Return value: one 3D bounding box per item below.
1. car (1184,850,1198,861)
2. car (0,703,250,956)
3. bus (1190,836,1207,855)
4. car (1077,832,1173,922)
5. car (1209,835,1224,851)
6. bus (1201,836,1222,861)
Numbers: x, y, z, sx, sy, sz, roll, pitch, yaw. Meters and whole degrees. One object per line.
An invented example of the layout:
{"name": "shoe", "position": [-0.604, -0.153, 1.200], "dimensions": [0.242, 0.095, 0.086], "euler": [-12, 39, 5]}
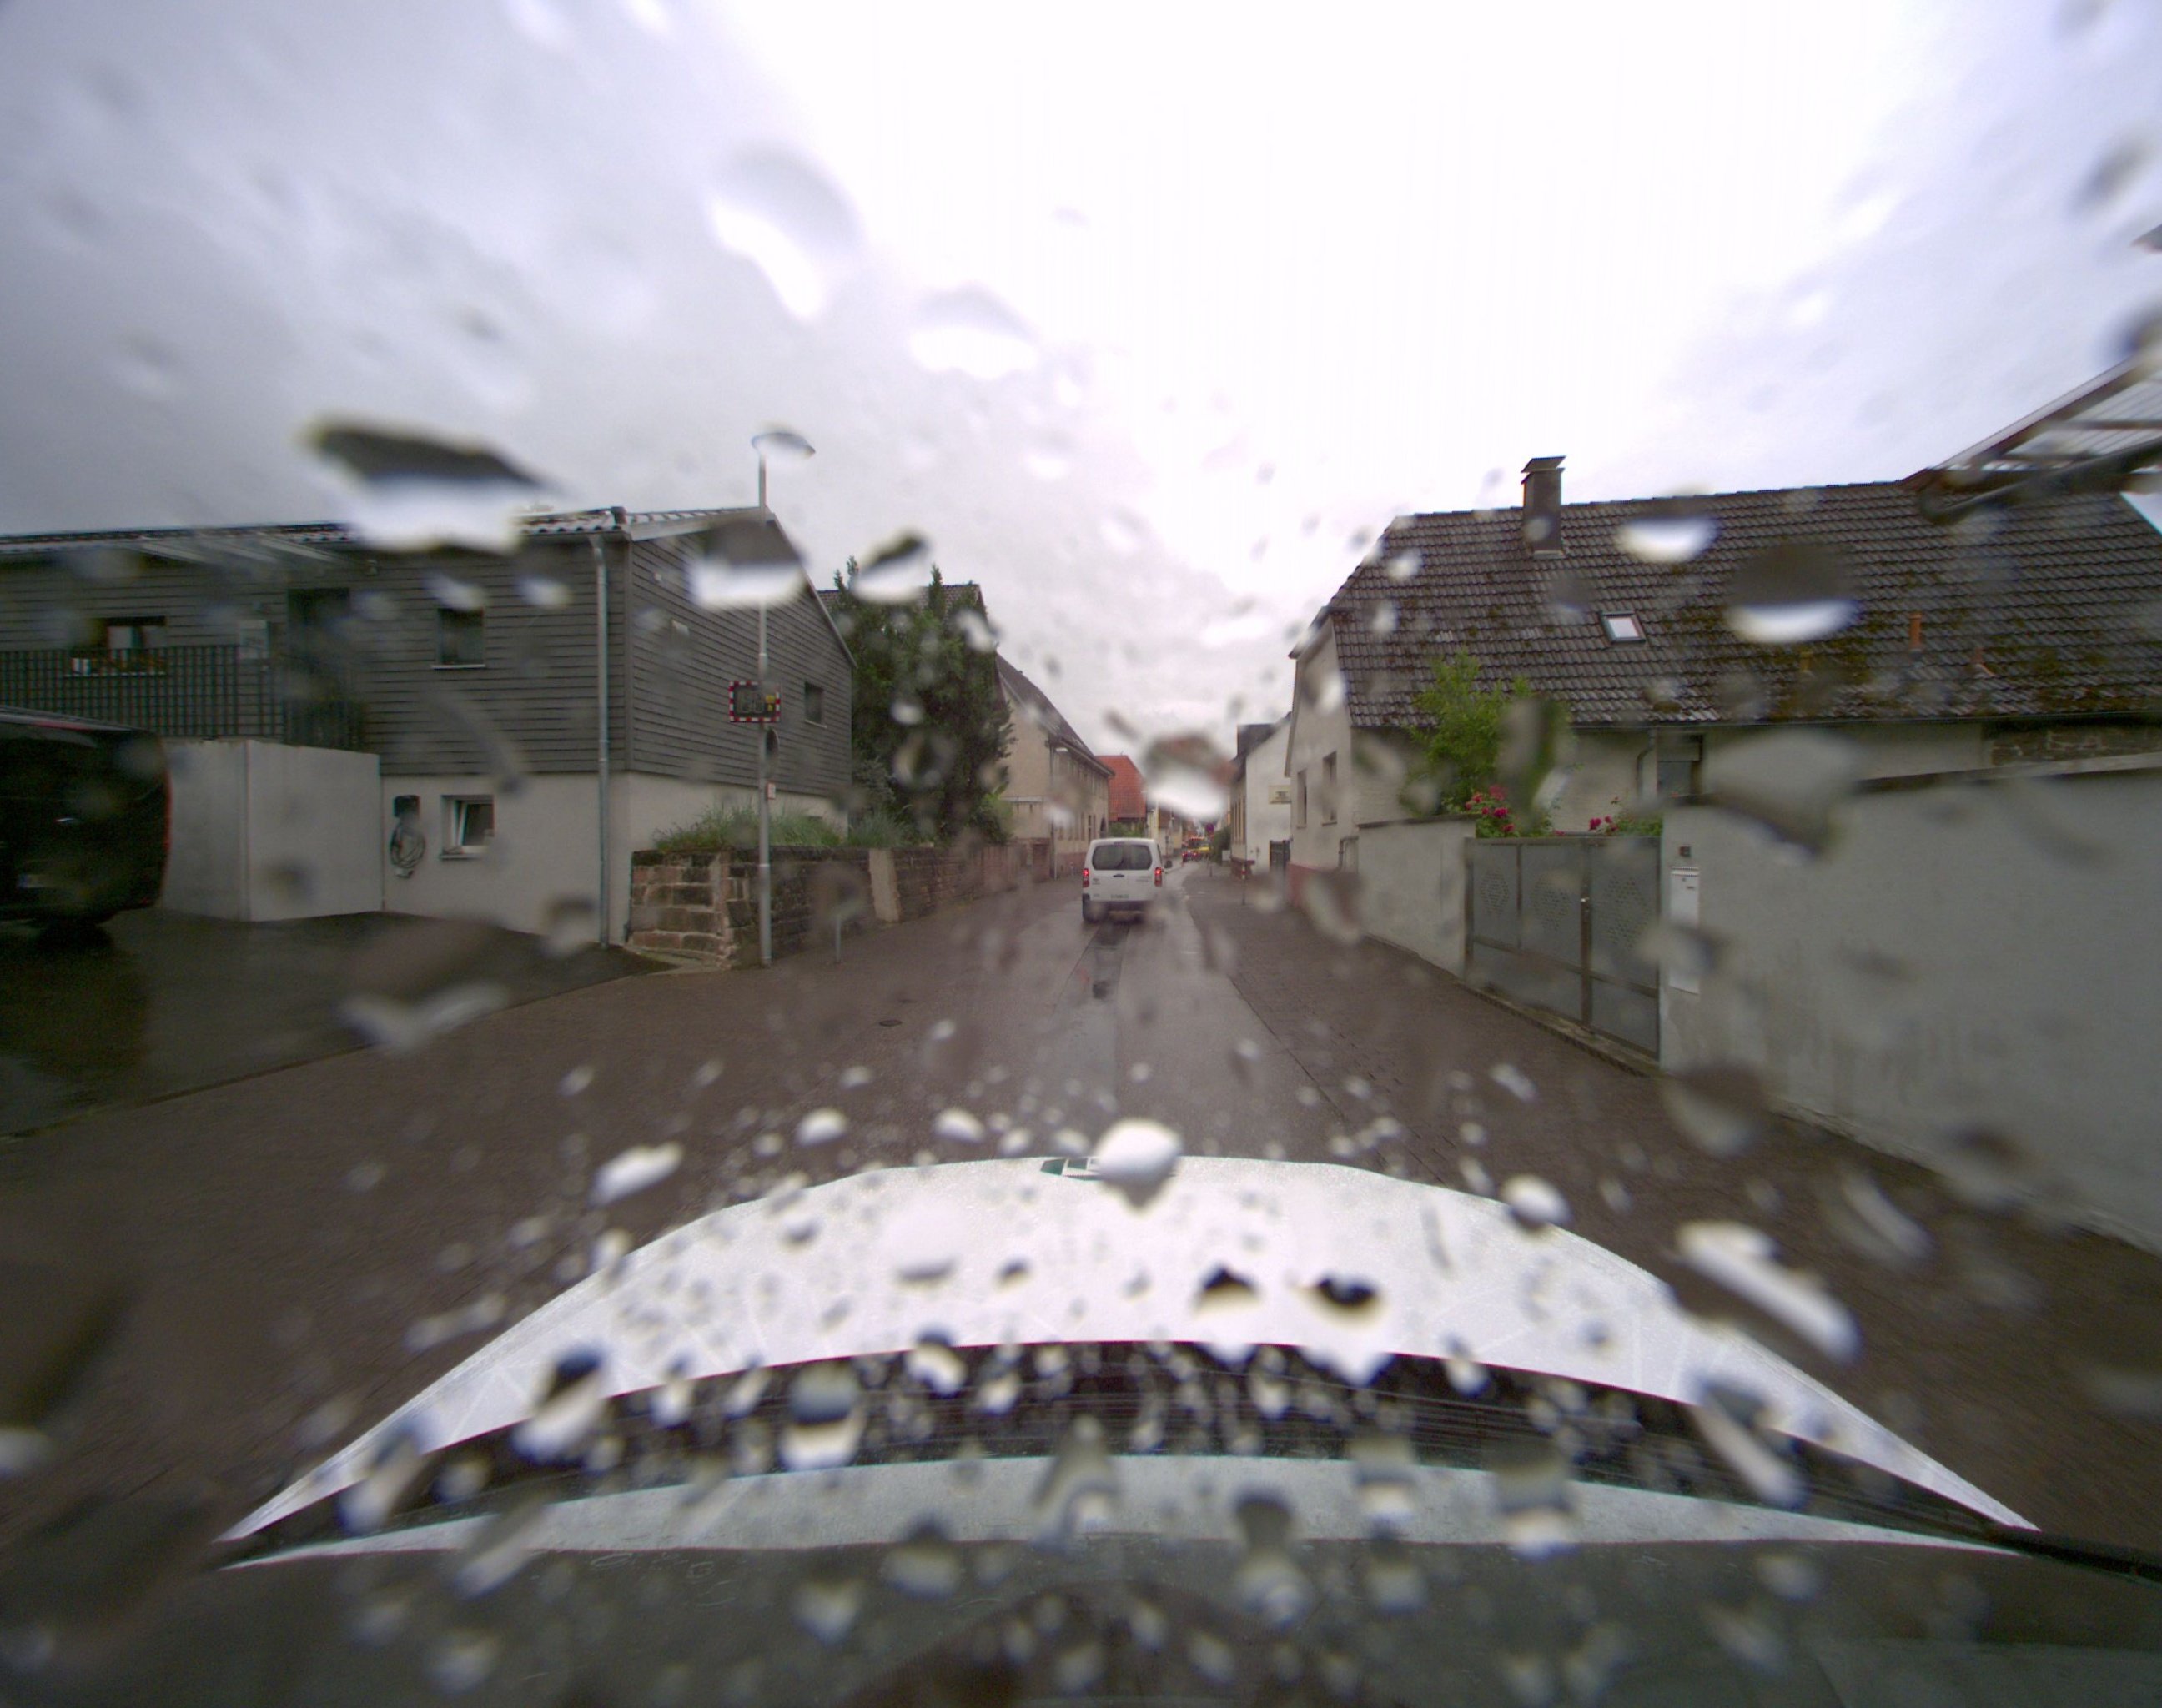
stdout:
{"name": "car", "position": [13.687, 0.198, 101.144], "dimensions": [1.552, 1.371, 3.595], "euler": [1, 0, 10]}
{"name": "car", "position": [-10.292, -0.445, 7.053], "dimensions": [3.972, 1.965, 2.002], "euler": [8, 0, 3]}
{"name": "bus", "position": [22.332, -1.580, 154.586], "dimensions": [2.776, 3.329, 8.199], "euler": [2, 0, 10]}
{"name": "car", "position": [1.134, 0.496, 18.943], "dimensions": [1.784, 1.819, 4.111], "euler": [-2, -1, 8]}
{"name": "car", "position": [17.583, -1.374, 105.654], "dimensions": [1.816, 2.013, 3.703], "euler": [1, 0, 9]}
{"name": "bus", "position": [18.107, -0.731, 112.868], "dimensions": [2.776, 3.180, 8.199], "euler": [2, 0, 10]}
